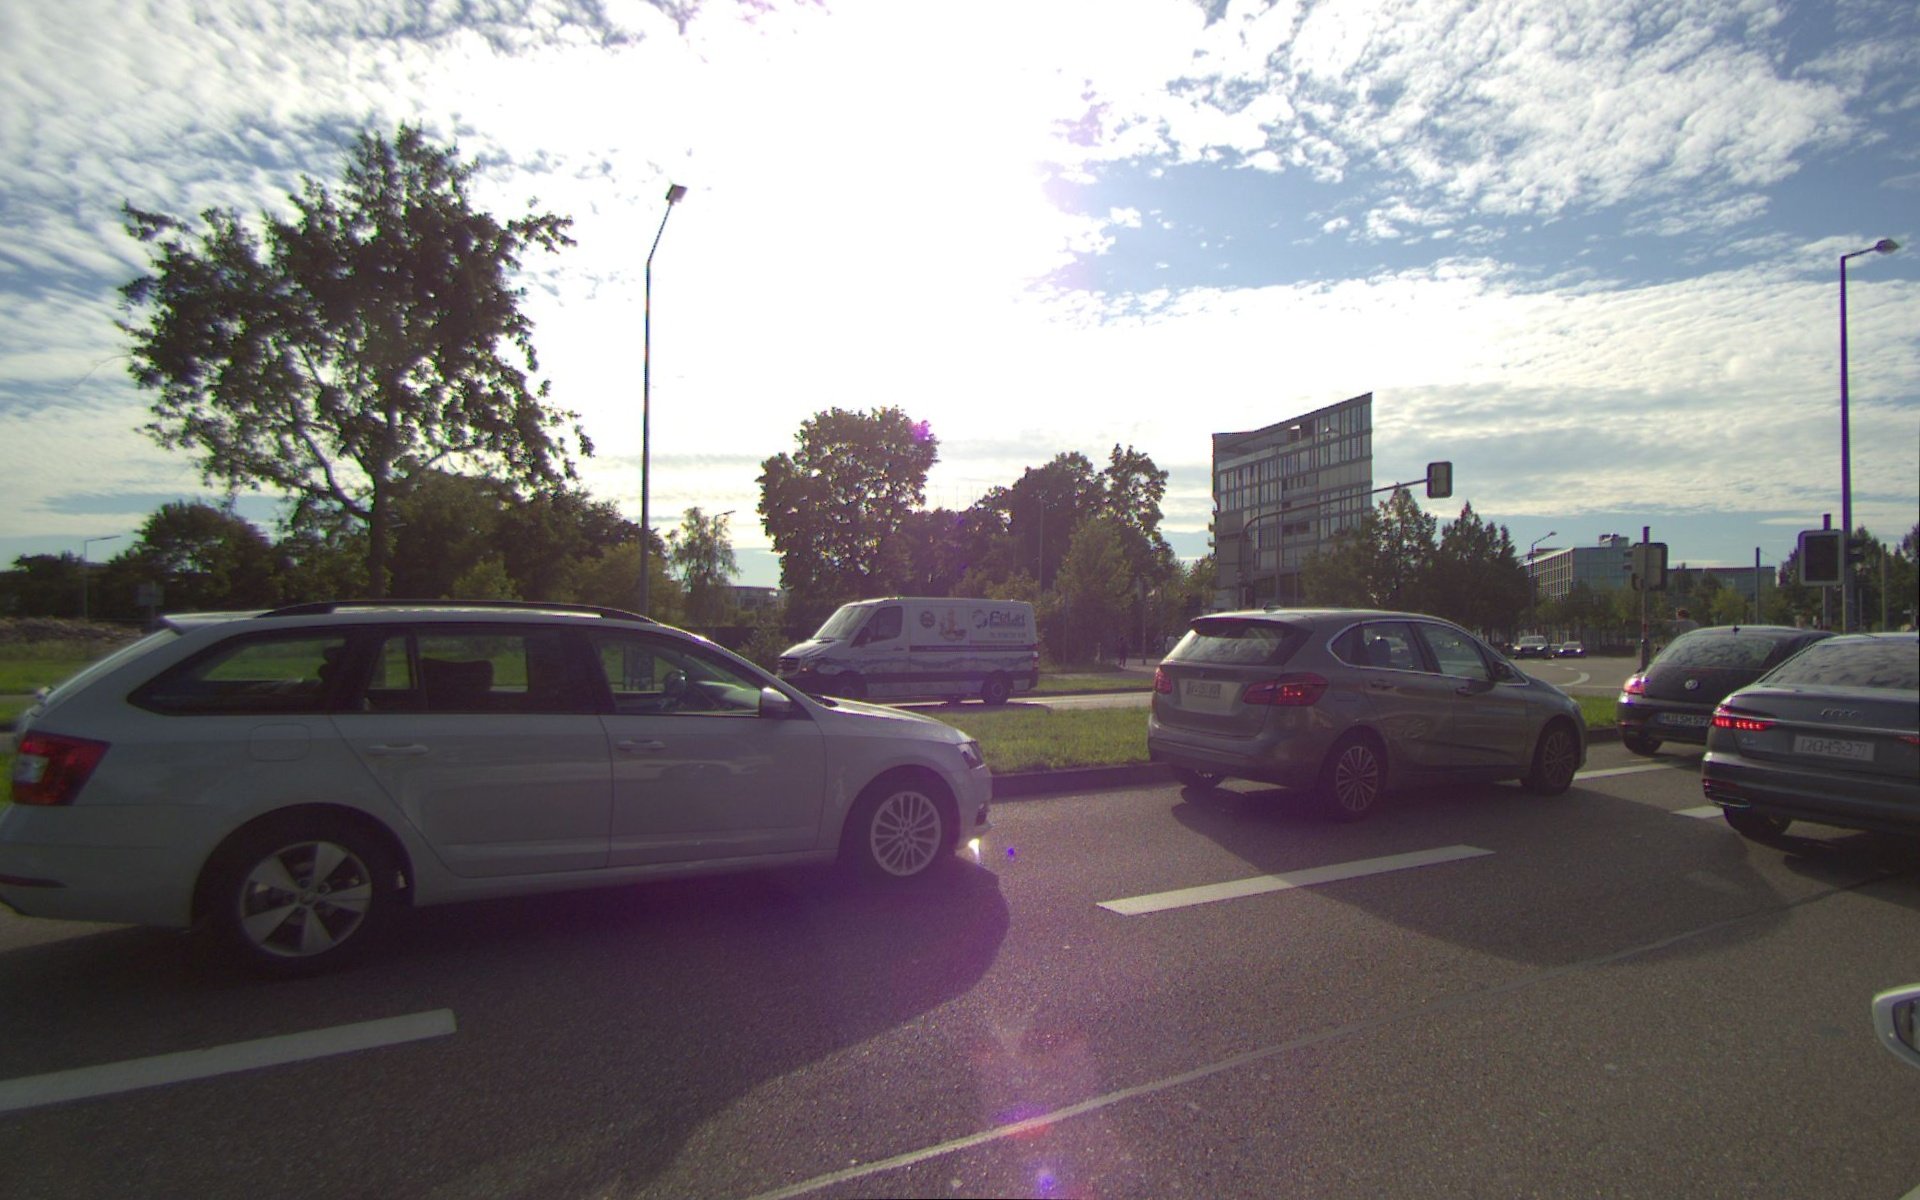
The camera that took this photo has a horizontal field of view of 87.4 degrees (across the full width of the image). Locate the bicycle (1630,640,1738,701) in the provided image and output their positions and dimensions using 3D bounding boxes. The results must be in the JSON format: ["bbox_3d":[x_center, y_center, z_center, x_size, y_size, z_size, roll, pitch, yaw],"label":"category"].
[{"bbox_3d":[14.819,1.420,20.584,1.707,1.179,0.652,-1,-2,45],"label":"bicycle"}]

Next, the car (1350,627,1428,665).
[{"bbox_3d":[21.069,2.224,49.525,1.680,1.793,3.995,0,-2,-9],"label":"car"}]

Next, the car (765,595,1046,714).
[{"bbox_3d":[-1.067,1.157,21.591,5.862,2.264,1.982,2,-4,-33],"label":"car"}]

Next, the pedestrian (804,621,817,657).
[{"bbox_3d":[-8.553,2.253,57.378,0.675,2.040,0.641,0,-2,-5],"label":"pedestrian"}]

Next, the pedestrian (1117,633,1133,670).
[{"bbox_3d":[7.558,2.370,46.089,0.581,1.602,0.580,4,2,5],"label":"pedestrian"}]

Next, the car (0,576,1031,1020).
[{"bbox_3d":[-1.937,0.745,5.225,4.429,1.518,1.690,2,-1,-31],"label":"car"}]

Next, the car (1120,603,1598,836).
[{"bbox_3d":[3.470,0.865,8.586,3.971,1.579,1.721,2,-1,-30],"label":"car"}]

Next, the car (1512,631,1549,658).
[{"bbox_3d":[34.066,2.634,59.953,1.682,1.594,3.990,-1,-2,33],"label":"car"}]

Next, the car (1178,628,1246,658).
[{"bbox_3d":[14.299,2.451,56.912,3.438,1.613,1.591,-2,-3,29],"label":"car"}]

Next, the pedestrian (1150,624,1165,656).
[{"bbox_3d":[12.593,2.575,64.141,0.863,2.040,0.936,0,-2,8],"label":"pedestrian"}]

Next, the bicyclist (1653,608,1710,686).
[{"bbox_3d":[14.809,0.962,20.604,0.840,1.546,0.736,-2,-3,44],"label":"bicyclist"}]

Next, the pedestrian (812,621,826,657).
[{"bbox_3d":[-8.194,2.271,58.432,0.723,2.040,0.739,0,-2,-6],"label":"pedestrian"}]

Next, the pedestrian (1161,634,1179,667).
[{"bbox_3d":[10.430,2.496,49.831,0.610,1.589,0.650,2,-2,-37],"label":"pedestrian"}]

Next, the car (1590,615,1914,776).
[{"bbox_3d":[9.074,0.987,11.455,3.766,1.543,1.672,2,-1,-31],"label":"car"}]

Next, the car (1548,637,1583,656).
[{"bbox_3d":[50.035,3.828,82.993,1.767,1.595,3.978,-2,-3,42],"label":"car"}]

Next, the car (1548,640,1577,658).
[{"bbox_3d":[57.558,4.717,95.968,1.680,1.713,4.000,0,-3,21],"label":"car"}]

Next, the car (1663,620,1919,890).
[{"bbox_3d":[7.199,0.951,7.159,4.559,1.502,1.881,2,-1,-31],"label":"car"}]
